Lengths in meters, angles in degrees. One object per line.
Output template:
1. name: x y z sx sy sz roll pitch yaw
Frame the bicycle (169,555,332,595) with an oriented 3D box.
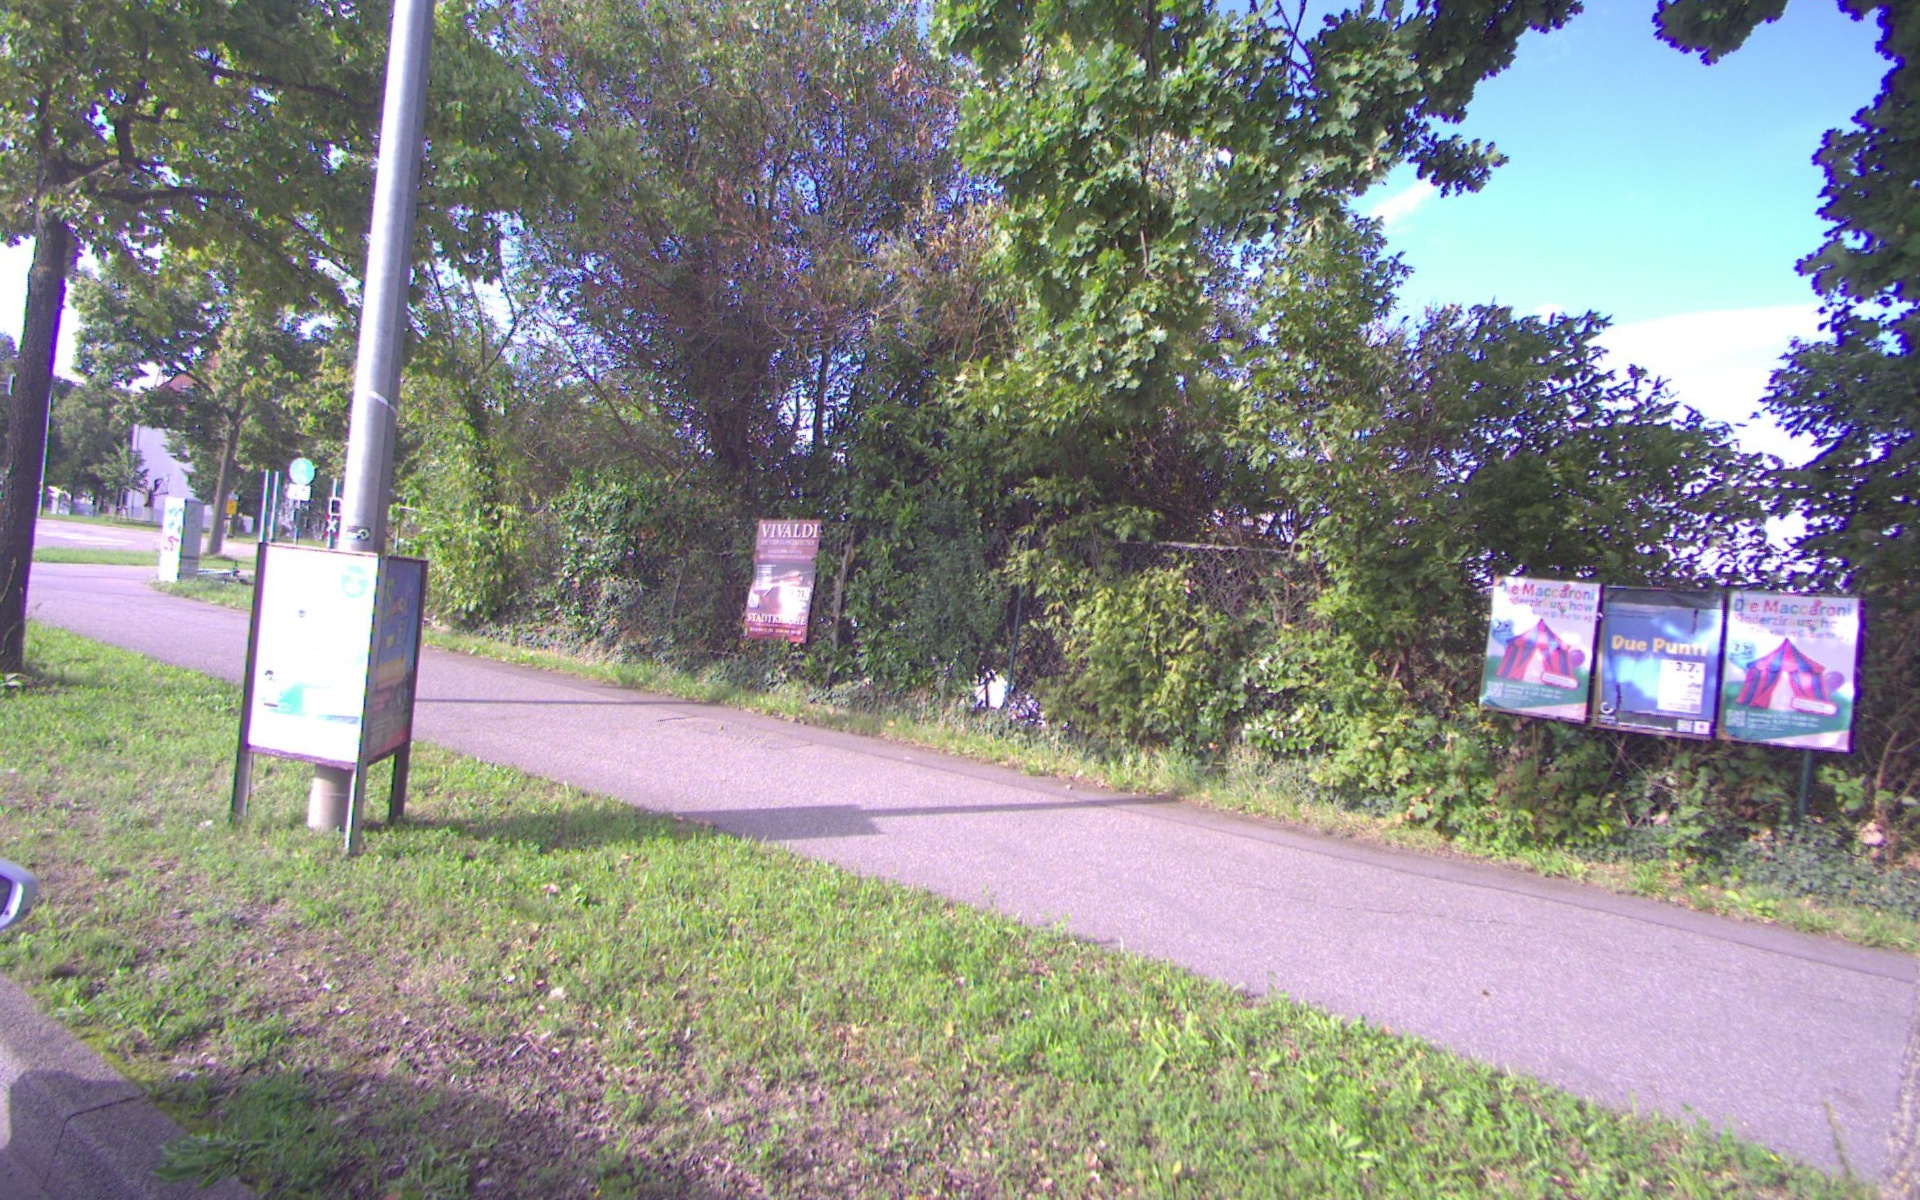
1. bicycle: -13.101 -0.458 18.647 2.210 0.350 1.090 9 -1 -2

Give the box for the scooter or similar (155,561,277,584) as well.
1. scooter or similar: -15.232 -0.557 20.650 1.268 0.284 1.554 6 0 7

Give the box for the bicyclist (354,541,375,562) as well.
1. bicyclist: -42.673 -3.476 72.110 0.702 1.372 1.003 7 1 31
